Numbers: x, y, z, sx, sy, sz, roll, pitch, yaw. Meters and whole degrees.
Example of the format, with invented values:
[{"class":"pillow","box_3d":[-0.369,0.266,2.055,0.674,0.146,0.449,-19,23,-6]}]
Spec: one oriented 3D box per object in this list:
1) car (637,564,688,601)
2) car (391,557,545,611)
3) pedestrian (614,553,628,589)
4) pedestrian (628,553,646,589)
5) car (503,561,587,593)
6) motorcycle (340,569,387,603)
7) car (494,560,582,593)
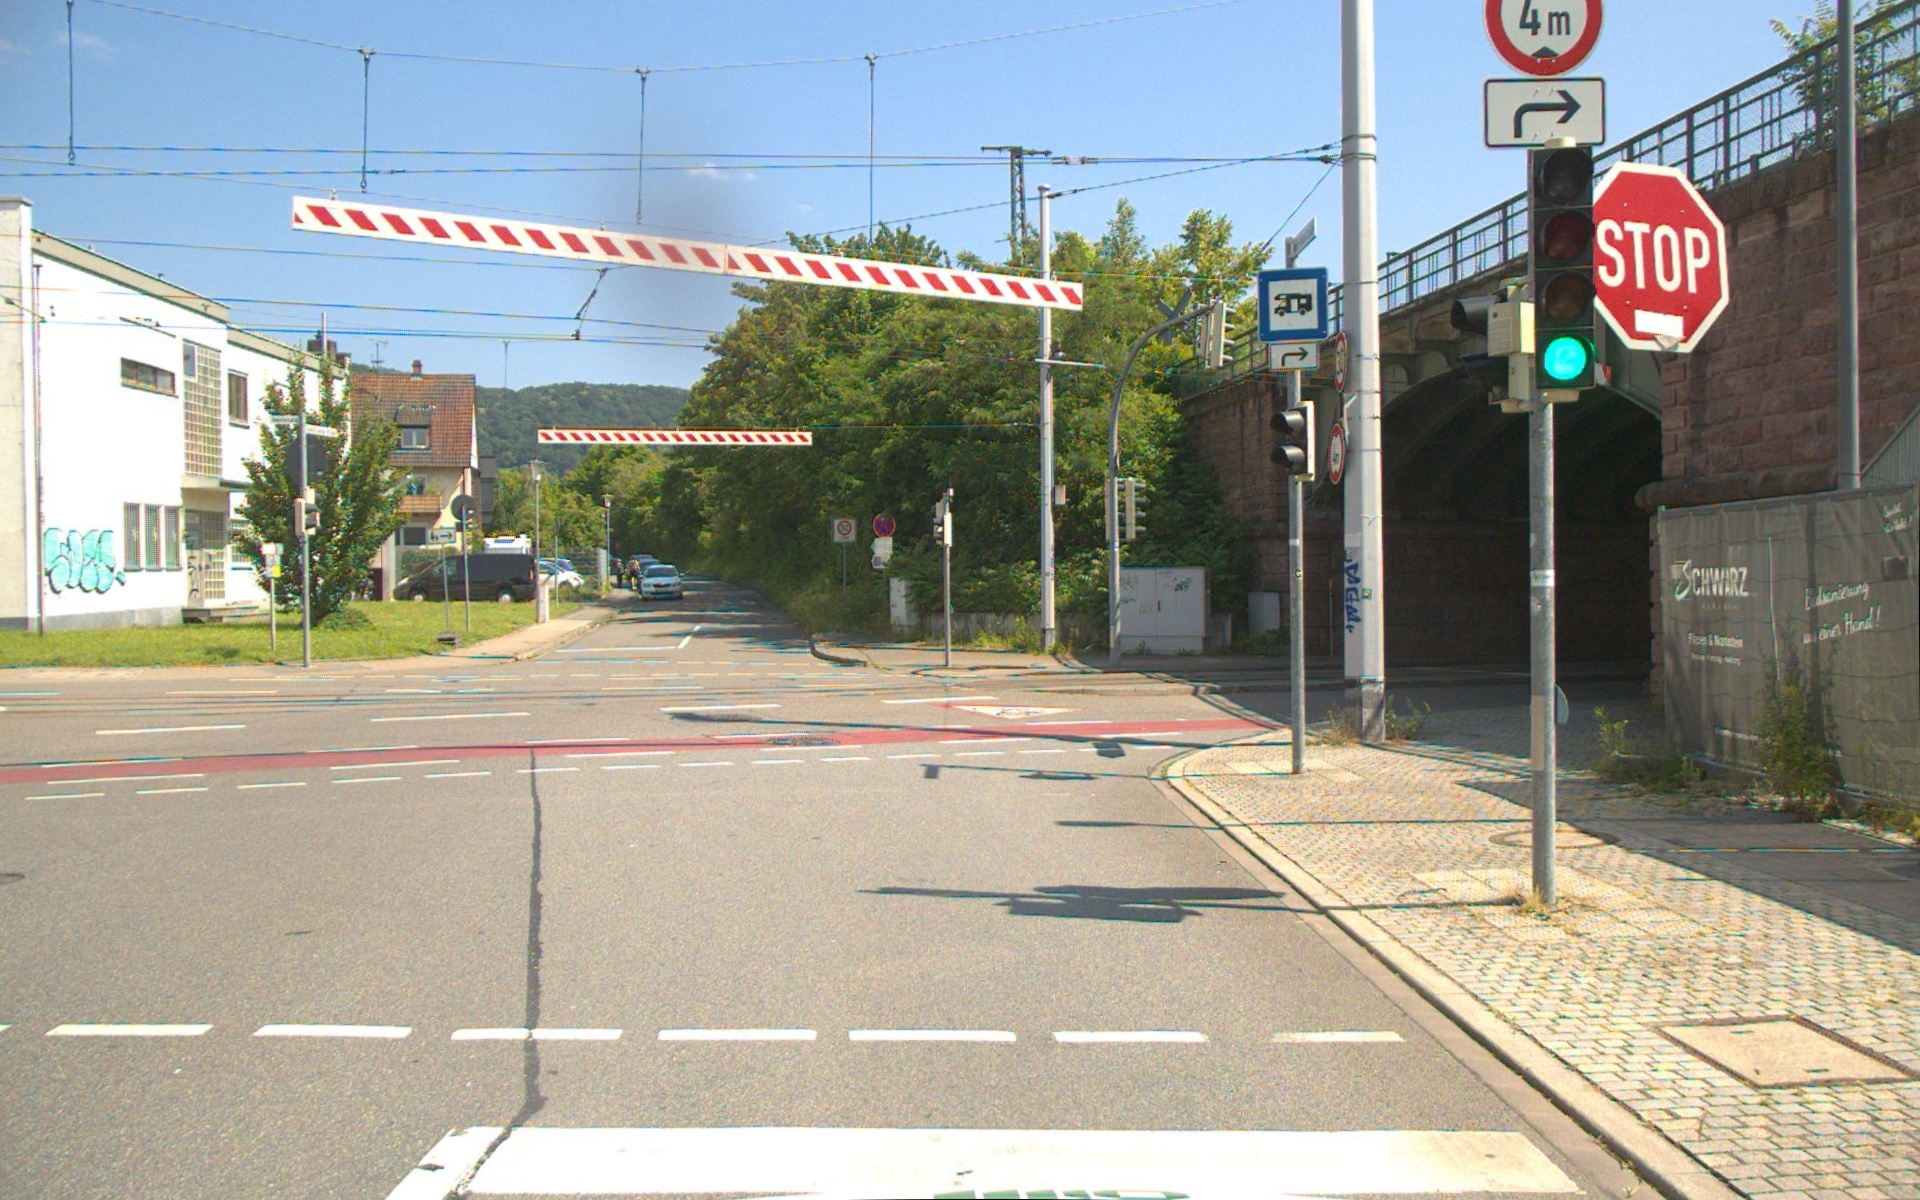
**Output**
[{"class":"car","box_3d":[-12.988,-0.776,72.441,2.048,1.536,4.530,1,0,-9]},{"class":"car","box_3d":[-18.025,-0.602,60.825,5.153,1.848,1.995,-1,1,-11]},{"class":"pedestrian","box_3d":[-17.252,-1.466,84.097,0.642,1.793,0.802,1,-1,-10]},{"class":"pedestrian","box_3d":[-16.416,-1.473,84.086,0.860,1.793,0.729,1,-1,-10]},{"class":"car","box_3d":[-19.401,-1.072,77.441,3.650,1.395,1.601,1,0,-8]},{"class":"motorcycle","box_3d":[-19.638,-0.449,54.481,0.835,1.050,2.564,1,-1,-6]},{"class":"car","box_3d":[-19.105,-1.069,75.027,3.650,1.395,1.601,1,-1,-8]}]
